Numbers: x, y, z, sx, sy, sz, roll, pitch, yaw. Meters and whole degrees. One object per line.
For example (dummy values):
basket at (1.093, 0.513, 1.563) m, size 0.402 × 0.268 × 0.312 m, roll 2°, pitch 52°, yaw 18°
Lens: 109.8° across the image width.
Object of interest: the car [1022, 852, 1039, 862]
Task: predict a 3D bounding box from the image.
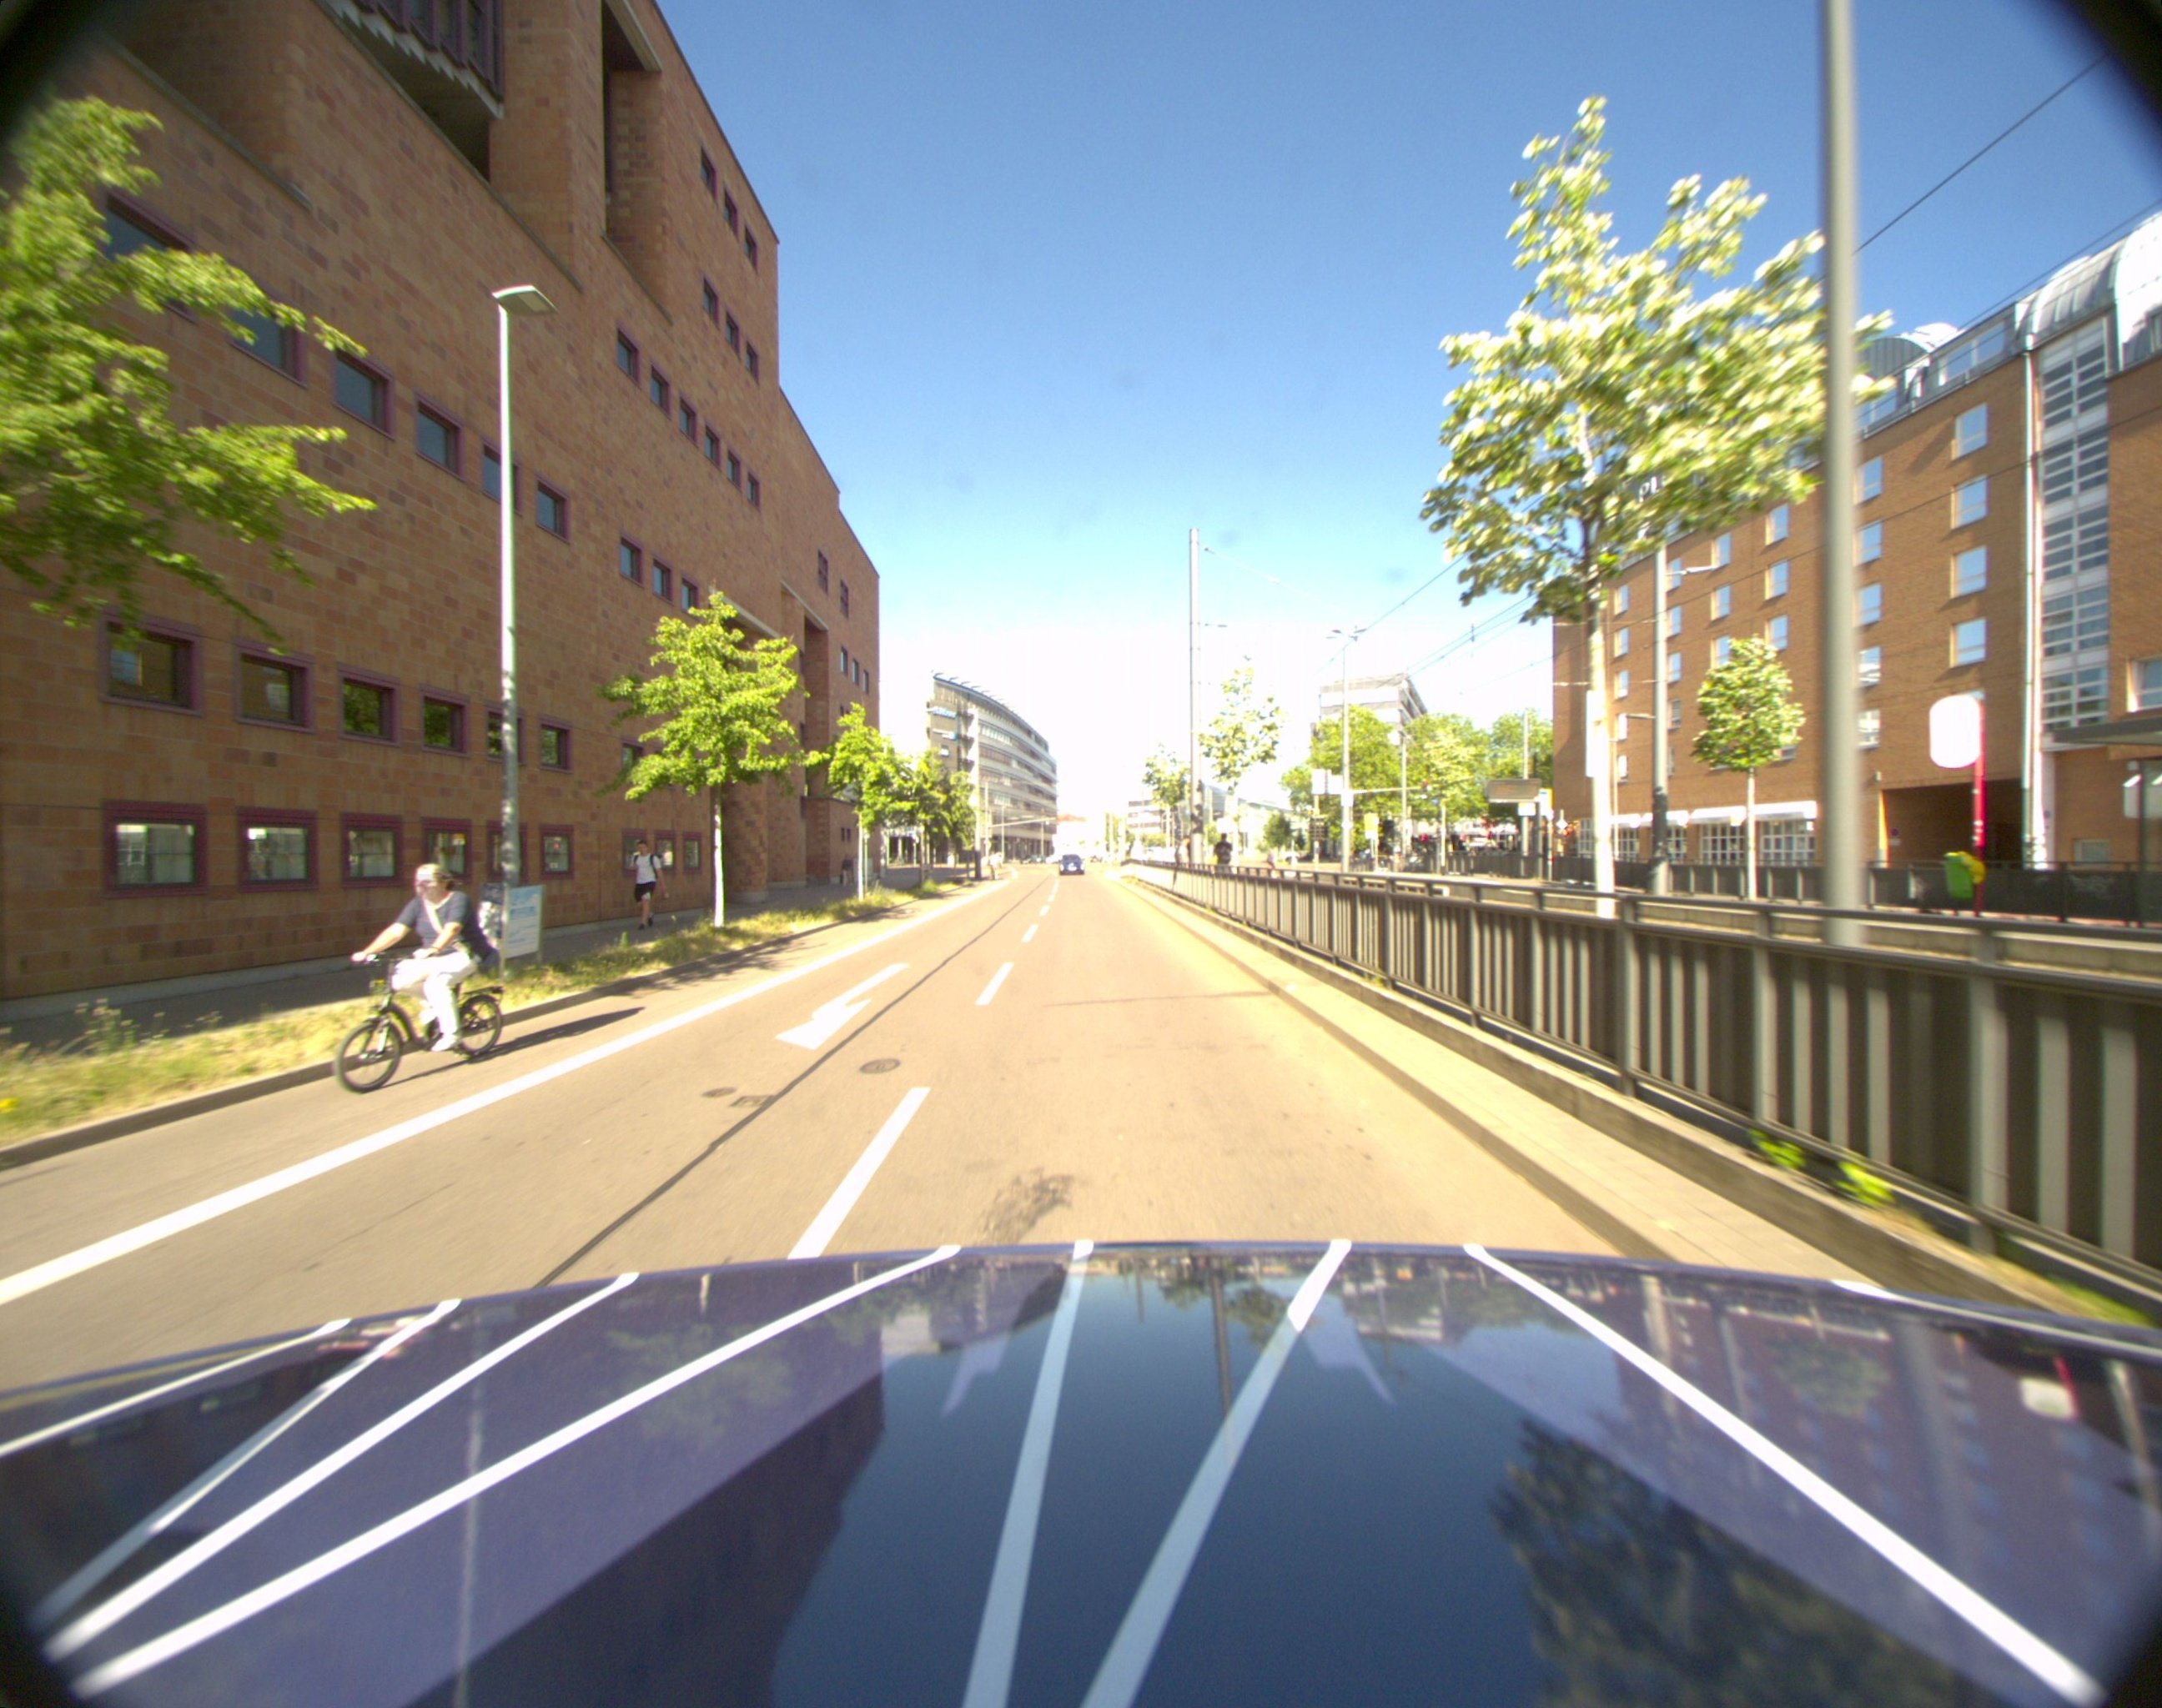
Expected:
car at (-7.757, 0.441, 117.355) m, size 1.882 × 1.456 × 4.001 m, roll -2°, pitch 1°, yaw 7°

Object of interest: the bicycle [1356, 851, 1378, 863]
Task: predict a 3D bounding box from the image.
bicycle at (26.094, 0.241, 69.318) m, size 1.838 × 1.093 × 0.638 m, roll 0°, pitch 1°, yaw 9°

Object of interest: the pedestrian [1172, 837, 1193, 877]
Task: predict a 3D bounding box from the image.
pedestrian at (4.587, 0.132, 34.370) m, size 0.756 × 1.800 × 0.840 m, roll 0°, pitch 1°, yaw -3°

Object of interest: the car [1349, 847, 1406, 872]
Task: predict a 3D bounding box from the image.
car at (18.125, 0.309, 46.709) m, size 1.936 × 1.489 × 4.288 m, roll 0°, pitch 1°, yaw 1°

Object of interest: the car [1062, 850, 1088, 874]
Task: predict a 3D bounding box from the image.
car at (-0.437, 0.527, 56.347) m, size 1.802 × 1.597 × 3.999 m, roll -2°, pitch 1°, yaw 1°

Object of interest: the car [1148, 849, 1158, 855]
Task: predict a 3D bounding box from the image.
car at (17.387, -0.464, 183.350) m, size 1.953 × 1.456 × 4.001 m, roll -2°, pitch 1°, yaw 8°

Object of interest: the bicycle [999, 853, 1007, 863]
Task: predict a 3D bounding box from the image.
bicycle at (-8.223, 0.430, 80.352) m, size 0.578 × 1.090 × 1.507 m, roll -2°, pitch 1°, yaw 3°

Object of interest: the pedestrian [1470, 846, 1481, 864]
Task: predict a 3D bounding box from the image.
pedestrian at (36.267, 0.090, 69.781) m, size 0.645 × 1.696 × 0.728 m, roll 0°, pitch 1°, yaw 5°

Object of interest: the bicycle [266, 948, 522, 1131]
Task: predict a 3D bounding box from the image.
bicycle at (-5.207, 1.354, 5.900) m, size 0.558 × 1.021 × 1.507 m, roll -2°, pitch 1°, yaw 0°

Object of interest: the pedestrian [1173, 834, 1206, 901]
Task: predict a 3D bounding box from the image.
pedestrian at (2.864, 0.357, 20.118) m, size 0.748 × 1.738 × 0.715 m, roll 0°, pitch 1°, yaw 0°

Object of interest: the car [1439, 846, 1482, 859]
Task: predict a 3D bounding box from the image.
car at (45.857, -0.208, 91.848) m, size 4.169 × 1.499 × 1.910 m, roll 0°, pitch 1°, yaw 3°

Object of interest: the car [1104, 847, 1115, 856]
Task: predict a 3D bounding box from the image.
car at (5.430, -0.504, 144.456) m, size 1.882 × 1.456 × 4.001 m, roll -2°, pitch 1°, yaw 7°

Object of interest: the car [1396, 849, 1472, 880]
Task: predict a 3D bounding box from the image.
car at (17.710, 0.478, 38.367) m, size 1.936 × 1.489 × 4.289 m, roll -1°, pitch 0°, yaw 1°

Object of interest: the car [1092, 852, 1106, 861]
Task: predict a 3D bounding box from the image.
car at (3.019, 0.379, 128.593) m, size 1.882 × 1.456 × 4.001 m, roll -2°, pitch 1°, yaw 8°

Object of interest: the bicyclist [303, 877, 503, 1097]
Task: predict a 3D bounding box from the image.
bicyclist at (-5.230, 0.974, 5.930) m, size 0.659 × 1.528 × 0.909 m, roll -2°, pitch 1°, yaw 0°

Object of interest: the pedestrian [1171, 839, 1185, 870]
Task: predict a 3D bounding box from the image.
pedestrian at (5.060, 0.017, 39.679) m, size 0.610 × 1.560 × 0.908 m, roll 0°, pitch 1°, yaw -3°

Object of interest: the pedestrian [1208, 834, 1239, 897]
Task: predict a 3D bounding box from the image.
pedestrian at (3.942, 0.301, 21.016) m, size 0.710 × 1.713 × 0.752 m, roll 0°, pitch 1°, yaw -1°

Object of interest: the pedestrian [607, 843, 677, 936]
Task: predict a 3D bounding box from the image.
pedestrian at (-9.154, 0.705, 15.884) m, size 0.790 × 1.872 × 1.106 m, roll 0°, pitch 1°, yaw 0°

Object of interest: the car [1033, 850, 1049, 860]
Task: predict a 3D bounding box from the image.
car at (-6.644, 0.187, 125.659) m, size 1.882 × 1.456 × 4.001 m, roll -2°, pitch 1°, yaw 7°

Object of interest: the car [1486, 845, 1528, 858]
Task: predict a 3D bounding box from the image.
car at (51.153, -0.302, 91.366) m, size 3.996 × 1.499 × 1.910 m, roll 0°, pitch 1°, yaw 3°

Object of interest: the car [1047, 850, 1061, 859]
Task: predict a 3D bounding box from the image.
car at (-4.746, 0.070, 133.618) m, size 1.882 × 1.456 × 4.001 m, roll -2°, pitch 1°, yaw 7°

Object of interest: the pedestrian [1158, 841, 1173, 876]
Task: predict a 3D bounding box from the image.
pedestrian at (4.414, 0.228, 39.517) m, size 0.649 × 1.764 × 0.820 m, roll 0°, pitch 1°, yaw -3°

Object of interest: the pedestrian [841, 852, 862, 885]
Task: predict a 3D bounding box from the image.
pedestrian at (-11.524, 0.712, 38.175) m, size 0.790 × 1.610 × 0.976 m, roll 0°, pitch 1°, yaw -2°

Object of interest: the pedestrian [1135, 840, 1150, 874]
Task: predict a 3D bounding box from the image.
pedestrian at (3.185, 0.170, 39.341) m, size 0.649 × 1.733 × 0.820 m, roll 0°, pitch 1°, yaw -3°

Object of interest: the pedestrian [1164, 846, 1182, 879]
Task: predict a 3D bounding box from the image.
pedestrian at (4.498, 0.389, 37.352) m, size 0.756 × 1.609 × 0.775 m, roll 0°, pitch 1°, yaw -3°

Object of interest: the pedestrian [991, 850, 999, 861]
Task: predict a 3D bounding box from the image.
pedestrian at (-12.200, 0.204, 107.997) m, size 0.859 × 1.678 × 0.801 m, roll 0°, pitch 1°, yaw 13°

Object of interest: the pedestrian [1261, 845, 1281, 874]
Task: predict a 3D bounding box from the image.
pedestrian at (11.384, 0.322, 45.554) m, size 0.960 × 1.680 × 1.007 m, roll 0°, pitch 1°, yaw 2°

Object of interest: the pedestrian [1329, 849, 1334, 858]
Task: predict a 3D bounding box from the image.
pedestrian at (35.505, -0.075, 107.821) m, size 0.663 × 1.389 × 0.672 m, roll 0°, pitch 1°, yaw 12°

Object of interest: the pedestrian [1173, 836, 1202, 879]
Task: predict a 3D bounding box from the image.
pedestrian at (4.465, 0.133, 31.893) m, size 0.994 × 1.800 × 1.022 m, roll 0°, pitch 1°, yaw -3°

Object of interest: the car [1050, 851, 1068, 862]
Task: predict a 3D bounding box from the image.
car at (-3.343, 0.392, 116.341) m, size 2.120 × 1.547 × 4.002 m, roll 0°, pitch 1°, yaw 9°

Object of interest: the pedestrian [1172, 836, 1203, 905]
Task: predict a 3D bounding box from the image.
pedestrian at (2.915, 0.440, 20.829) m, size 0.748 × 1.874 × 0.715 m, roll 0°, pitch 1°, yaw 0°

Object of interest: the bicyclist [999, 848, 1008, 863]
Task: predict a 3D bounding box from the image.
bicyclist at (-8.225, 0.151, 80.337) m, size 0.755 × 1.607 × 0.762 m, roll -2°, pitch 1°, yaw 3°

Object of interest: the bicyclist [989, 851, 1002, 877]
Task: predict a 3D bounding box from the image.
bicyclist at (-5.641, 0.660, 50.113) m, size 0.684 × 1.718 × 0.909 m, roll -2°, pitch 1°, yaw 3°

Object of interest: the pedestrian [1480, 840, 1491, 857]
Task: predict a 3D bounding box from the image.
pedestrian at (37.584, -0.513, 70.577) m, size 0.645 × 1.601 × 0.728 m, roll 0°, pitch 1°, yaw 5°

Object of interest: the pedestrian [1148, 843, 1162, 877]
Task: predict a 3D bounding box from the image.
pedestrian at (3.831, 0.320, 39.345) m, size 0.649 × 1.733 × 0.820 m, roll 0°, pitch 1°, yaw -3°

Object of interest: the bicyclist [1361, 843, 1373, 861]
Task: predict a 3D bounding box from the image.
bicyclist at (26.080, -0.211, 69.321) m, size 0.848 × 1.630 × 0.779 m, roll 0°, pitch 1°, yaw 9°

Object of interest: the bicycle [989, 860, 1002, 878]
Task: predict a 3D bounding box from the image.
bicycle at (-5.624, 0.997, 50.206) m, size 0.578 × 1.090 × 1.507 m, roll -2°, pitch 1°, yaw 2°
